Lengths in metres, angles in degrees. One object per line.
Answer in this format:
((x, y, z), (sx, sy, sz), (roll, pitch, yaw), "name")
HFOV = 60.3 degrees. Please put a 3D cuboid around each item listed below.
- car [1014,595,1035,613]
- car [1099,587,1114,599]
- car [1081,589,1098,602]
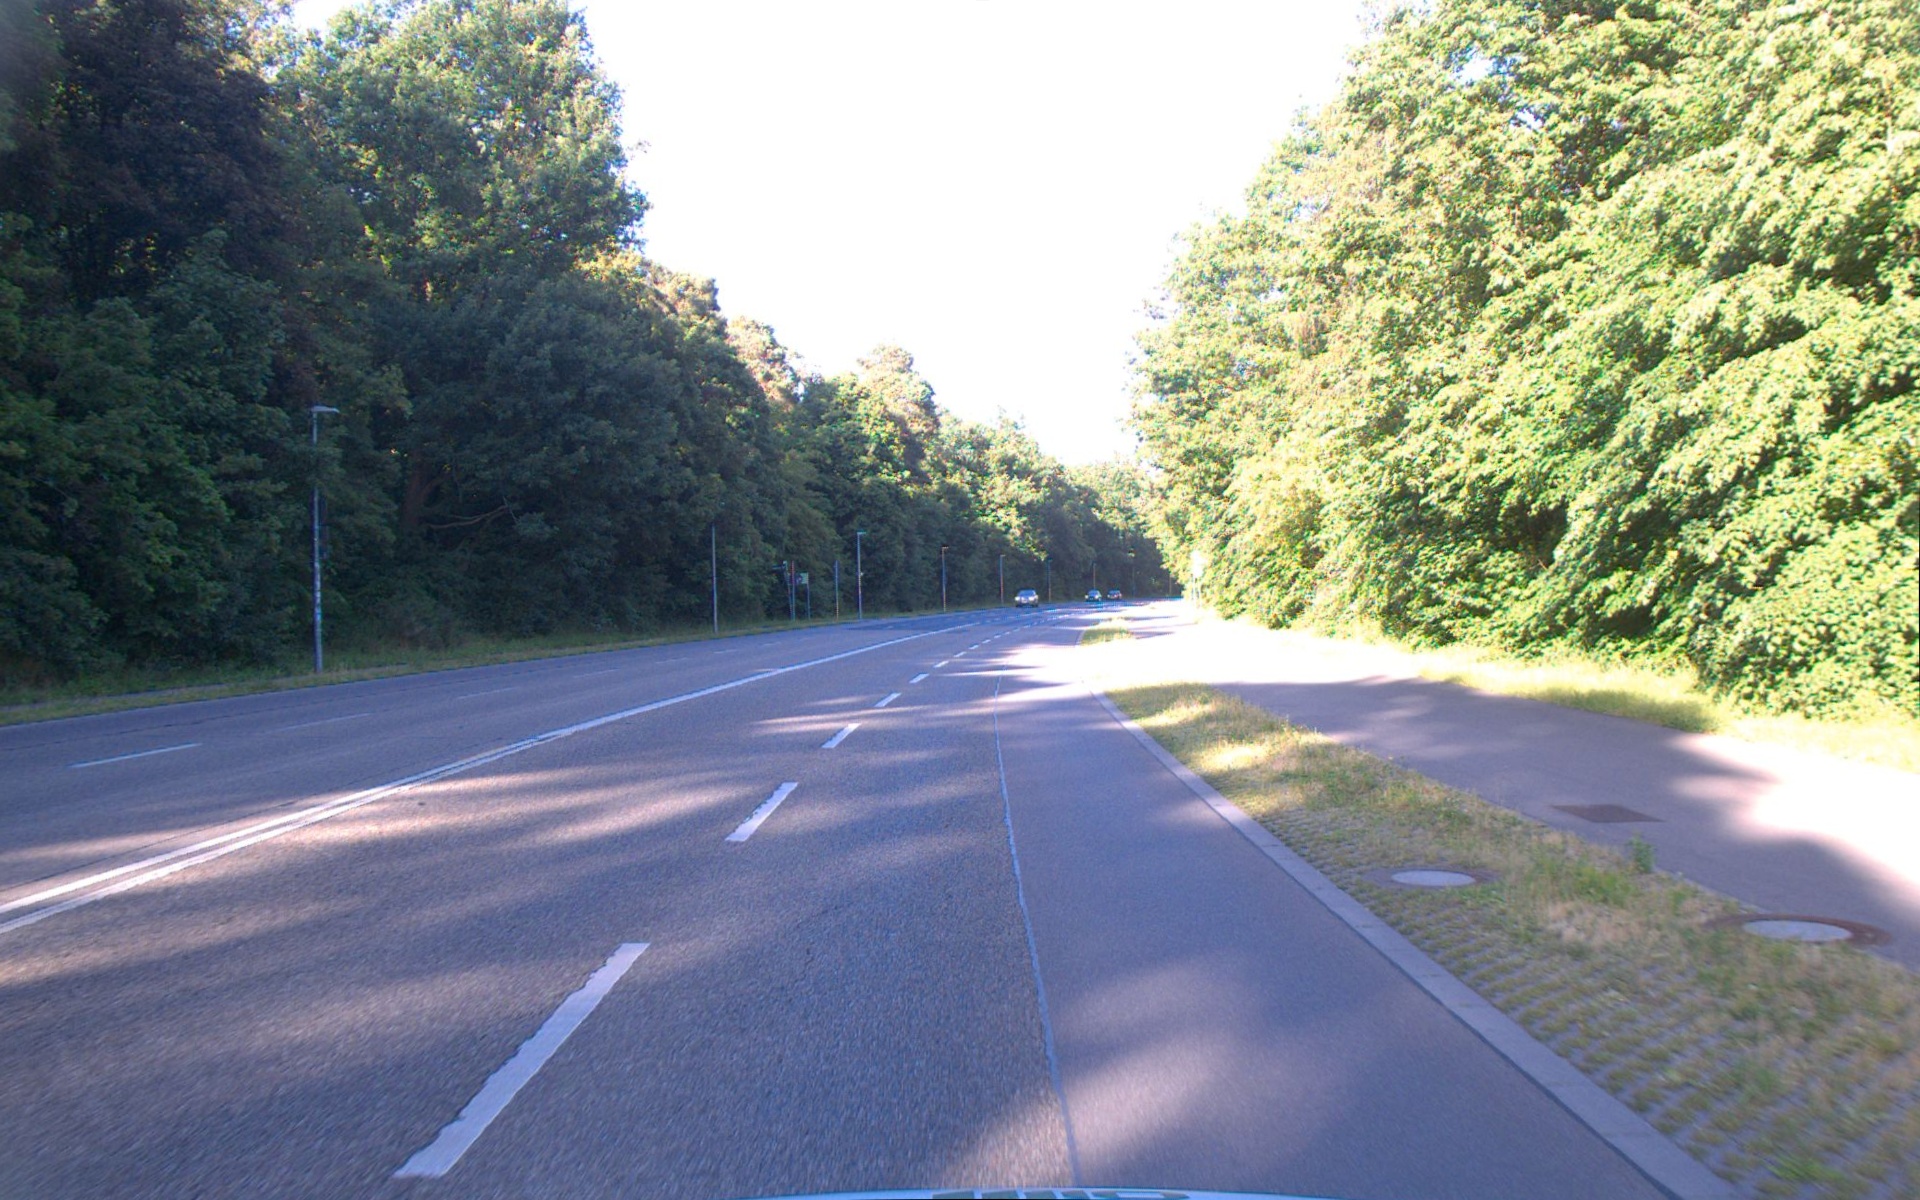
((6.162, 0.385, 157.695), (1.952, 1.613, 4.000), (0, -1, 1), "car")
((20.890, -0.988, 235.702), (1.951, 1.613, 4.003), (0, -1, 9), "car")
((16.770, -0.559, 214.556), (1.951, 1.613, 4.003), (0, -1, 7), "car")
